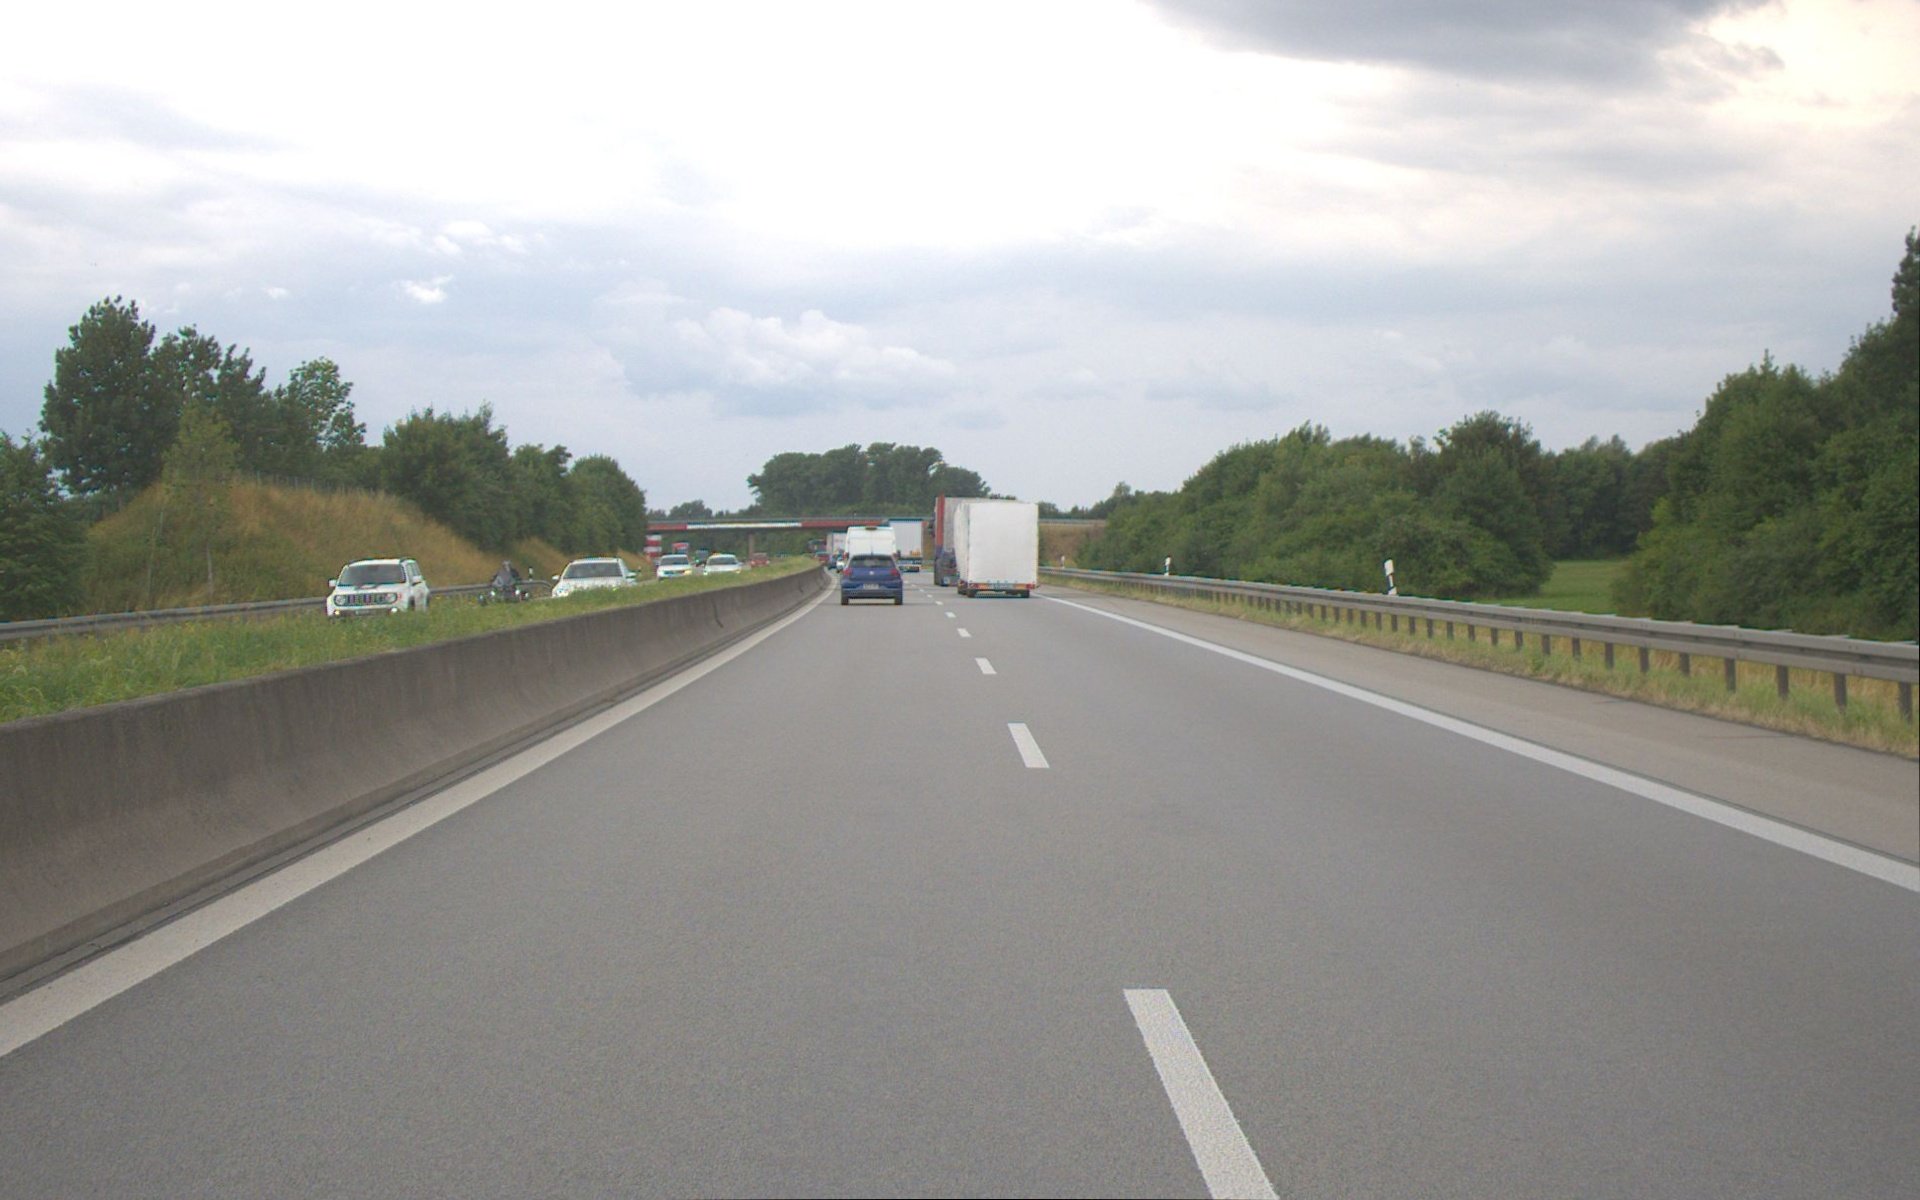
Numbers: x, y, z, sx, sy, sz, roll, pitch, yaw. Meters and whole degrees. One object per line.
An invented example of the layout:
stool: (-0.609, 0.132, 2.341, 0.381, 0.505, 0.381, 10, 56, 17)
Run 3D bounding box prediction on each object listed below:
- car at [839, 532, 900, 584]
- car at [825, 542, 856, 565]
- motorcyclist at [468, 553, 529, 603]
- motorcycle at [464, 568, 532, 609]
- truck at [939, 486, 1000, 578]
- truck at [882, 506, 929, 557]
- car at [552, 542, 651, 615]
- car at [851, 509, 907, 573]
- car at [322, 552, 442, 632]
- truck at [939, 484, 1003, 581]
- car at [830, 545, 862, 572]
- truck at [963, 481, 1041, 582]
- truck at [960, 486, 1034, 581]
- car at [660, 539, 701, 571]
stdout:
car: (-2.524, -1.170, 95.412, 1.663, 1.402, 3.649, 0, 1, -2)
car: (-8.594, -3.345, 247.002, 1.993, 1.678, 4.001, 0, 1, -5)
motorcyclist: (-13.228, -0.639, 98.554, 1.566, 1.367, 1.252, -2, 1, -1)
motorcycle: (-13.220, -0.338, 98.540, 1.566, 1.074, 2.982, -2, 1, -1)
truck: (0.398, -3.088, 155.486, 2.673, 4.032, 5.513, -1, 1, 0)
truck: (-4.210, -5.182, 261.983, 3.110, 3.677, 9.324, -2, 1, -3)
car: (-8.915, -0.551, 85.768, 1.947, 1.688, 5.175, -2, 1, -1)
car: (-3.195, -2.313, 135.432, 2.130, 2.474, 5.840, -1, 1, -2)
car: (-12.596, -0.197, 75.180, 1.836, 1.621, 4.691, -2, 1, -1)
truck: (0.436, -2.970, 150.060, 2.673, 4.032, 11.108, -1, 1, 0)
car: (-7.171, -2.616, 216.613, 1.935, 1.638, 4.903, -1, 1, -2)
truck: (1.334, -2.224, 112.936, 2.415, 3.211, 7.144, 0, 1, 0)
truck: (1.258, -2.288, 120.119, 2.429, 3.232, 7.247, 0, 1, -1)
car: (-14.477, -2.324, 178.220, 1.865, 1.569, 4.694, -2, 1, -2)
